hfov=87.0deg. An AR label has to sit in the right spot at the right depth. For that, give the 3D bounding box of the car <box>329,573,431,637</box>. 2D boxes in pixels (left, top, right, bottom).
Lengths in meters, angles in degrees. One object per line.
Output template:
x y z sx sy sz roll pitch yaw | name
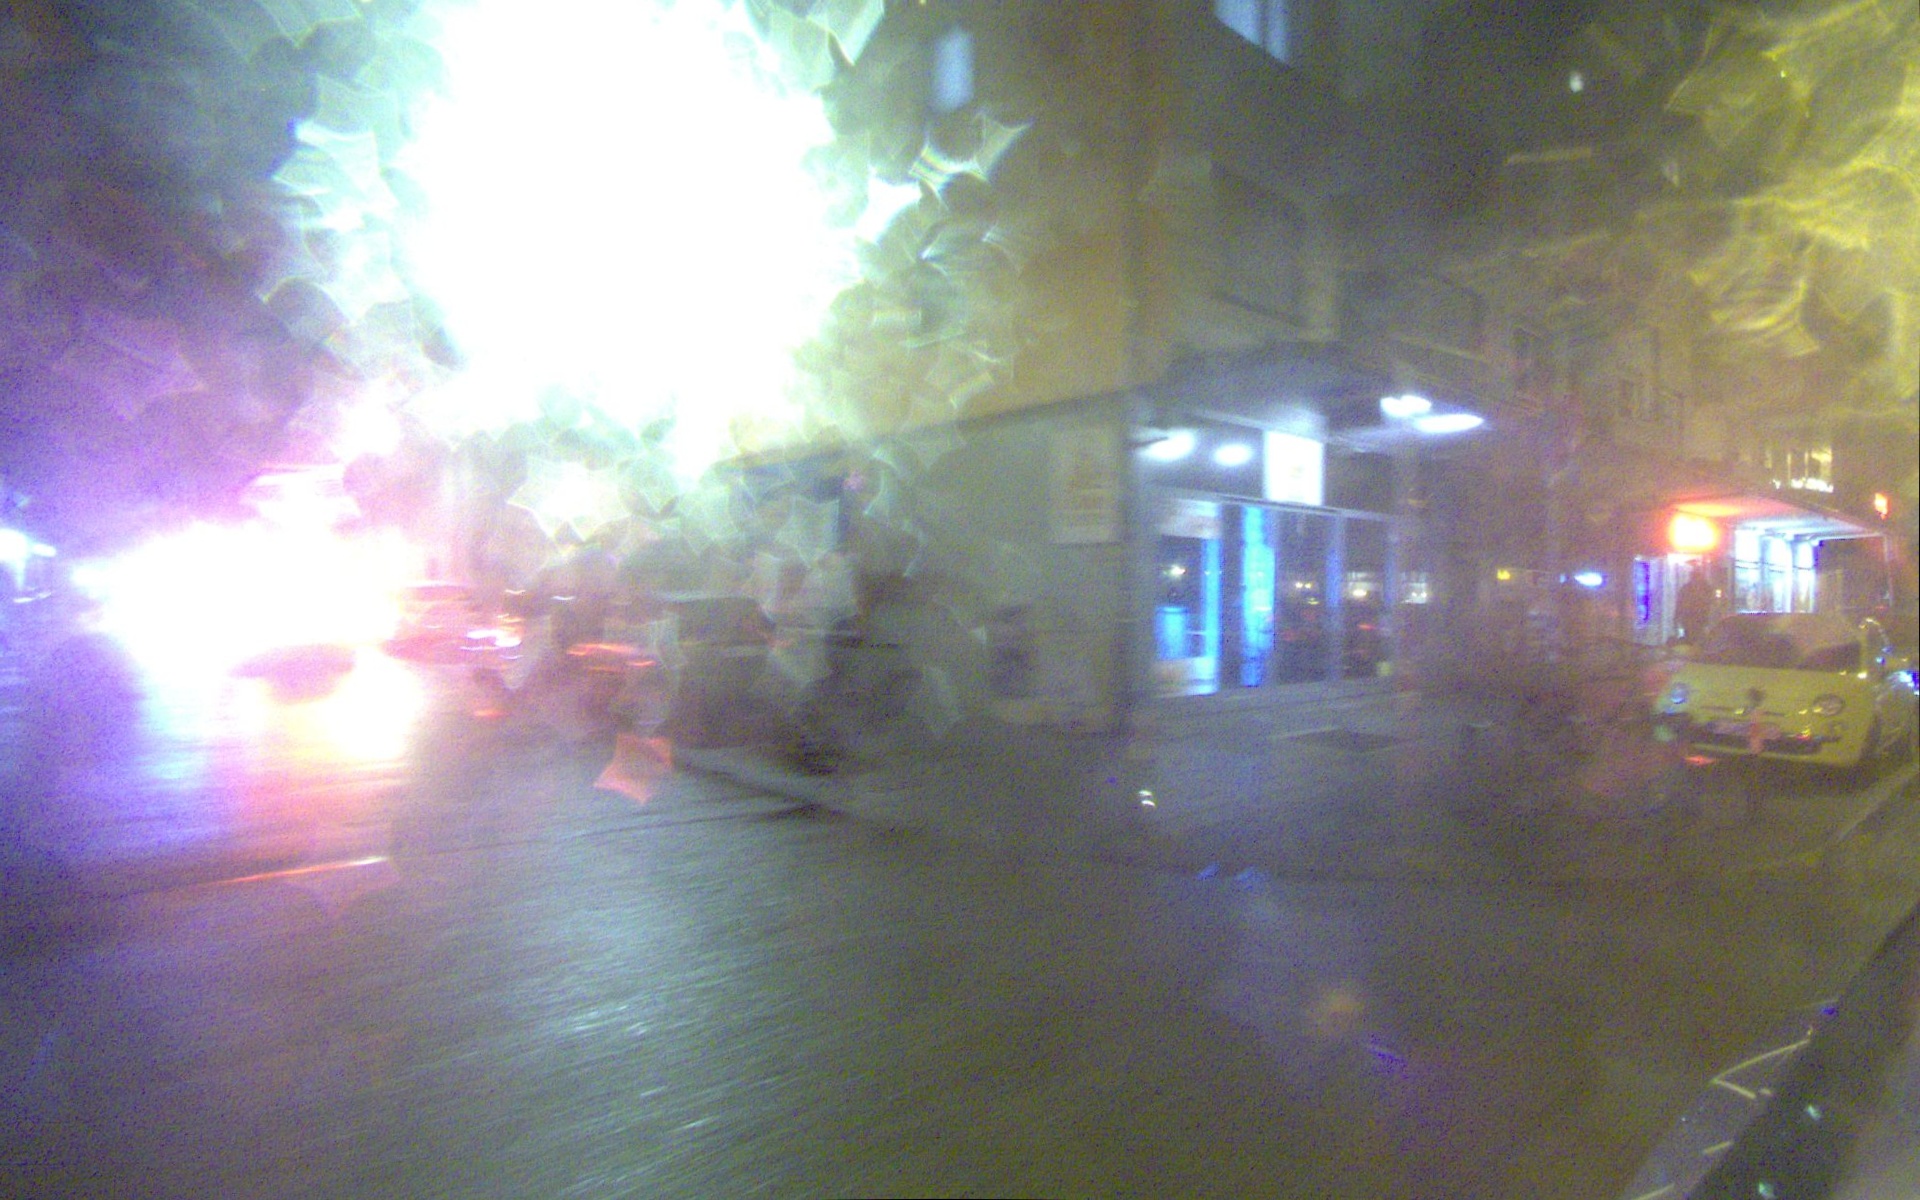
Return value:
-16.027 0.149 27.885 1.809 1.623 4.154 0 -1 -39 | car

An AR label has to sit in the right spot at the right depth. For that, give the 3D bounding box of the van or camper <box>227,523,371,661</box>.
-13.502 -0.097 20.498 2.080 2.429 5.329 0 -1 -37 | van or camper

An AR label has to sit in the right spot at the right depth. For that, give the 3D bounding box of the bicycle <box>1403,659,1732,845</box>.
4.132 0.972 7.173 0.605 0.905 2.278 1 1 -11 | bicycle

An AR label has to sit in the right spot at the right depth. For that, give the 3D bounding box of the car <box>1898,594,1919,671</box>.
21.138 0.681 21.071 4.088 1.525 1.845 0 2 -40 | car

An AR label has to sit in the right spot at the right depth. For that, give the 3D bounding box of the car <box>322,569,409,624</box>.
-18.929 -0.084 32.149 1.809 1.623 4.154 0 -1 -39 | car

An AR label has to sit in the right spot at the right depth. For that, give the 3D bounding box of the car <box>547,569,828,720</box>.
-3.431 0.456 12.258 1.861 1.504 3.996 0 -1 -39 | car

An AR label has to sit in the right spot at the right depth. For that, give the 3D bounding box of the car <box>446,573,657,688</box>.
-6.428 0.436 15.673 1.964 1.527 3.995 0 -1 -39 | car

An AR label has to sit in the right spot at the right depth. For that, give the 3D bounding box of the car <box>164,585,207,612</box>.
-47.739 -0.104 62.365 1.964 1.556 3.994 0 -1 -40 | car

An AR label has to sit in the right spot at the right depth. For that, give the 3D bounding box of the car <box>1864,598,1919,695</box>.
17.022 0.756 17.247 4.088 1.525 1.845 0 2 -40 | car

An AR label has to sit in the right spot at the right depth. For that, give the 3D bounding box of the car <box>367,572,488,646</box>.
-12.884 0.219 24.387 1.809 1.623 4.154 0 -1 -39 | car

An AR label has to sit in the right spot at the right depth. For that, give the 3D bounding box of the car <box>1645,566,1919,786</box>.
8.342 0.587 9.953 3.788 1.743 1.676 0 2 -40 | car

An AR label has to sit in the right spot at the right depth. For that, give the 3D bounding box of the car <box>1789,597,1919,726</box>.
12.958 0.751 13.902 4.088 1.525 1.689 0 2 -40 | car
